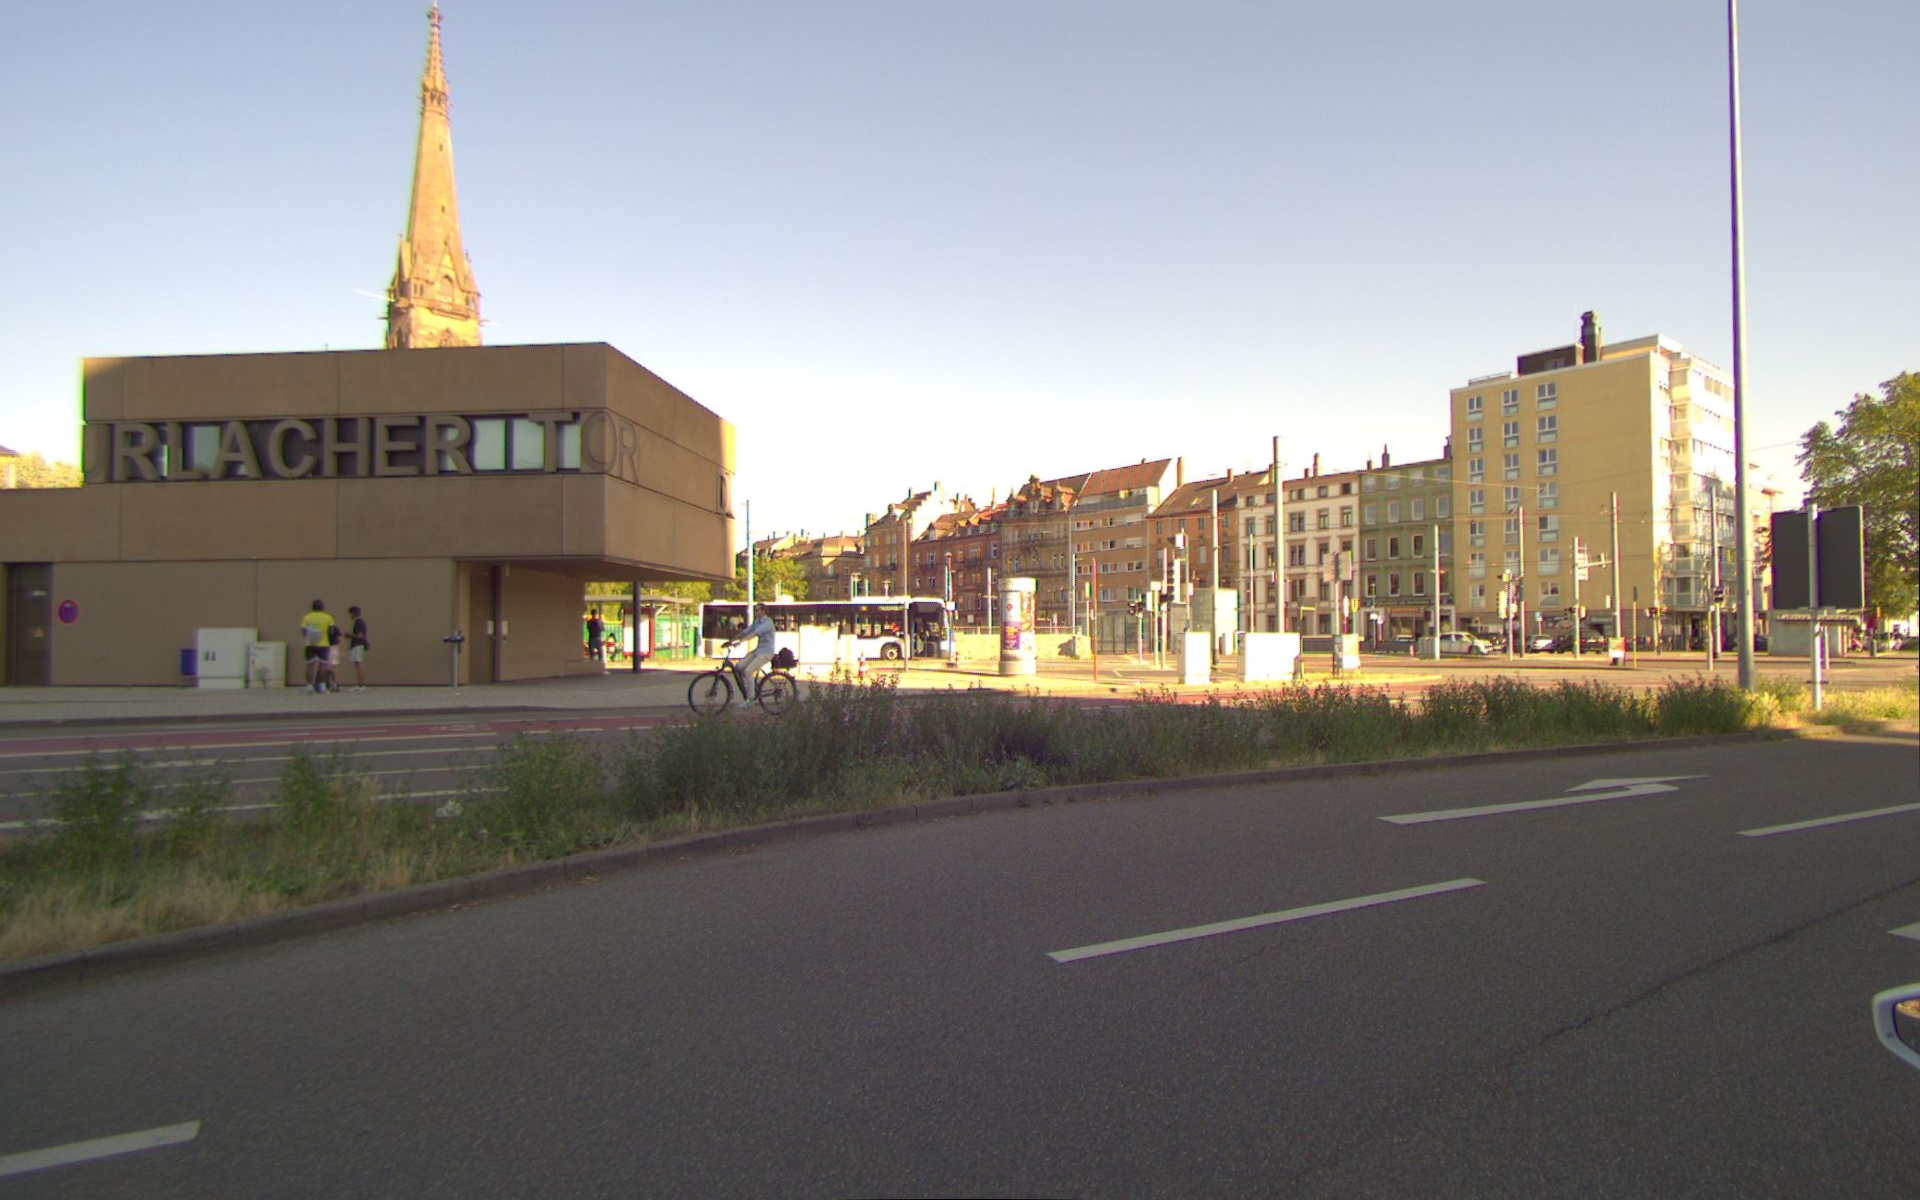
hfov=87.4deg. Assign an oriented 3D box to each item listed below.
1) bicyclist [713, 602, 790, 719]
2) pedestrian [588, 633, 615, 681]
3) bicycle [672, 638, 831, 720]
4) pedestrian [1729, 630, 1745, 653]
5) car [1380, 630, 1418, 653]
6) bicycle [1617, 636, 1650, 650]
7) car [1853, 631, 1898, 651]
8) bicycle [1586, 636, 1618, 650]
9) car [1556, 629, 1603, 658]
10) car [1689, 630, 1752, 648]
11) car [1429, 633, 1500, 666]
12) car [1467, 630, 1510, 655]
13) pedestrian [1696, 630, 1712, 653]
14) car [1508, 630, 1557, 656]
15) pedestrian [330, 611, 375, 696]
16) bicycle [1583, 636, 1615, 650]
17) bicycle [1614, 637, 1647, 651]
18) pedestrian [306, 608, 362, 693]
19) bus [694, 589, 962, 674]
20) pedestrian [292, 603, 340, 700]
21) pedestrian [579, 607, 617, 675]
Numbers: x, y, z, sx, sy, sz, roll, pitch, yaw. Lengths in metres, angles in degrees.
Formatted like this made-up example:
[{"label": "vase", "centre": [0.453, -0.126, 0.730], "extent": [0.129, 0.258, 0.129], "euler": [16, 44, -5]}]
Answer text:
[{"label": "bicyclist", "centre": [-3.457, 0.990, 16.664], "extent": [1.005, 1.856, 0.734], "euler": [2, -2, -39]}, {"label": "pedestrian", "centre": [-15.443, 2.440, 43.253], "extent": [0.704, 2.007, 0.982], "euler": [-1, -2, 7]}, {"label": "bicycle", "centre": [-3.428, 1.282, 16.702], "extent": [2.535, 1.271, 0.734], "euler": [2, -2, -40]}, {"label": "pedestrian", "centre": [57.905, 3.059, 74.829], "extent": [0.775, 1.698, 0.770], "euler": [1, -2, -37]}, {"label": "car", "centre": [36.761, 3.461, 84.153], "extent": [2.044, 1.742, 4.012], "euler": [-1, 0, 10]}, {"label": "bicycle", "centre": [52.451, 3.367, 78.233], "extent": [0.770, 1.104, 2.026], "euler": [1, -2, -39]}, {"label": "car", "centre": [70.628, 3.169, 77.470], "extent": [3.962, 1.471, 1.834], "euler": [1, -2, -37]}, {"label": "bicycle", "centre": [51.085, 3.423, 79.959], "extent": [0.770, 1.104, 2.026], "euler": [1, -2, -39]}, {"label": "car", "centre": [45.190, 3.153, 73.370], "extent": [1.816, 1.882, 4.001], "euler": [-1, 0, 16]}, {"label": "car", "centre": [63.527, 3.238, 83.921], "extent": [1.800, 1.441, 3.951], "euler": [2, -3, -42]}, {"label": "car", "centre": [33.574, 3.240, 66.923], "extent": [1.983, 2.040, 3.704], "euler": [-1, 0, -39]}, {"label": "car", "centre": [41.050, 3.312, 78.138], "extent": [1.802, 1.742, 4.002], "euler": [-1, 0, 10]}, {"label": "pedestrian", "centre": [56.574, 3.134, 76.357], "extent": [0.775, 1.698, 0.770], "euler": [1, -2, -37]}, {"label": "car", "centre": [43.042, 3.230, 75.614], "extent": [1.802, 1.771, 4.002], "euler": [-1, 0, 8]}, {"label": "pedestrian", "centre": [-12.421, 1.083, 20.559], "extent": [0.540, 1.711, 0.638], "euler": [-1, 0, -8]}, {"label": "bicycle", "centre": [50.476, 3.422, 79.337], "extent": [0.770, 1.104, 2.026], "euler": [1, -2, -39]}, {"label": "bicycle", "centre": [51.838, 3.376, 77.653], "extent": [0.770, 1.104, 2.026], "euler": [1, -2, -39]}, {"label": "pedestrian", "centre": [-13.239, 1.053, 21.255], "extent": [0.651, 1.754, 0.736], "euler": [-1, 0, 4]}, {"label": "bus", "centre": [-6.060, 1.505, 47.301], "extent": [11.941, 3.359, 3.254], "euler": [2, -5, 6]}, {"label": "pedestrian", "centre": [-12.654, 0.993, 19.756], "extent": [0.629, 1.860, 0.715], "euler": [-1, 0, -20]}, {"label": "pedestrian", "centre": [-10.938, 1.233, 30.375], "extent": [0.704, 2.007, 0.982], "euler": [-1, -2, 5]}]
